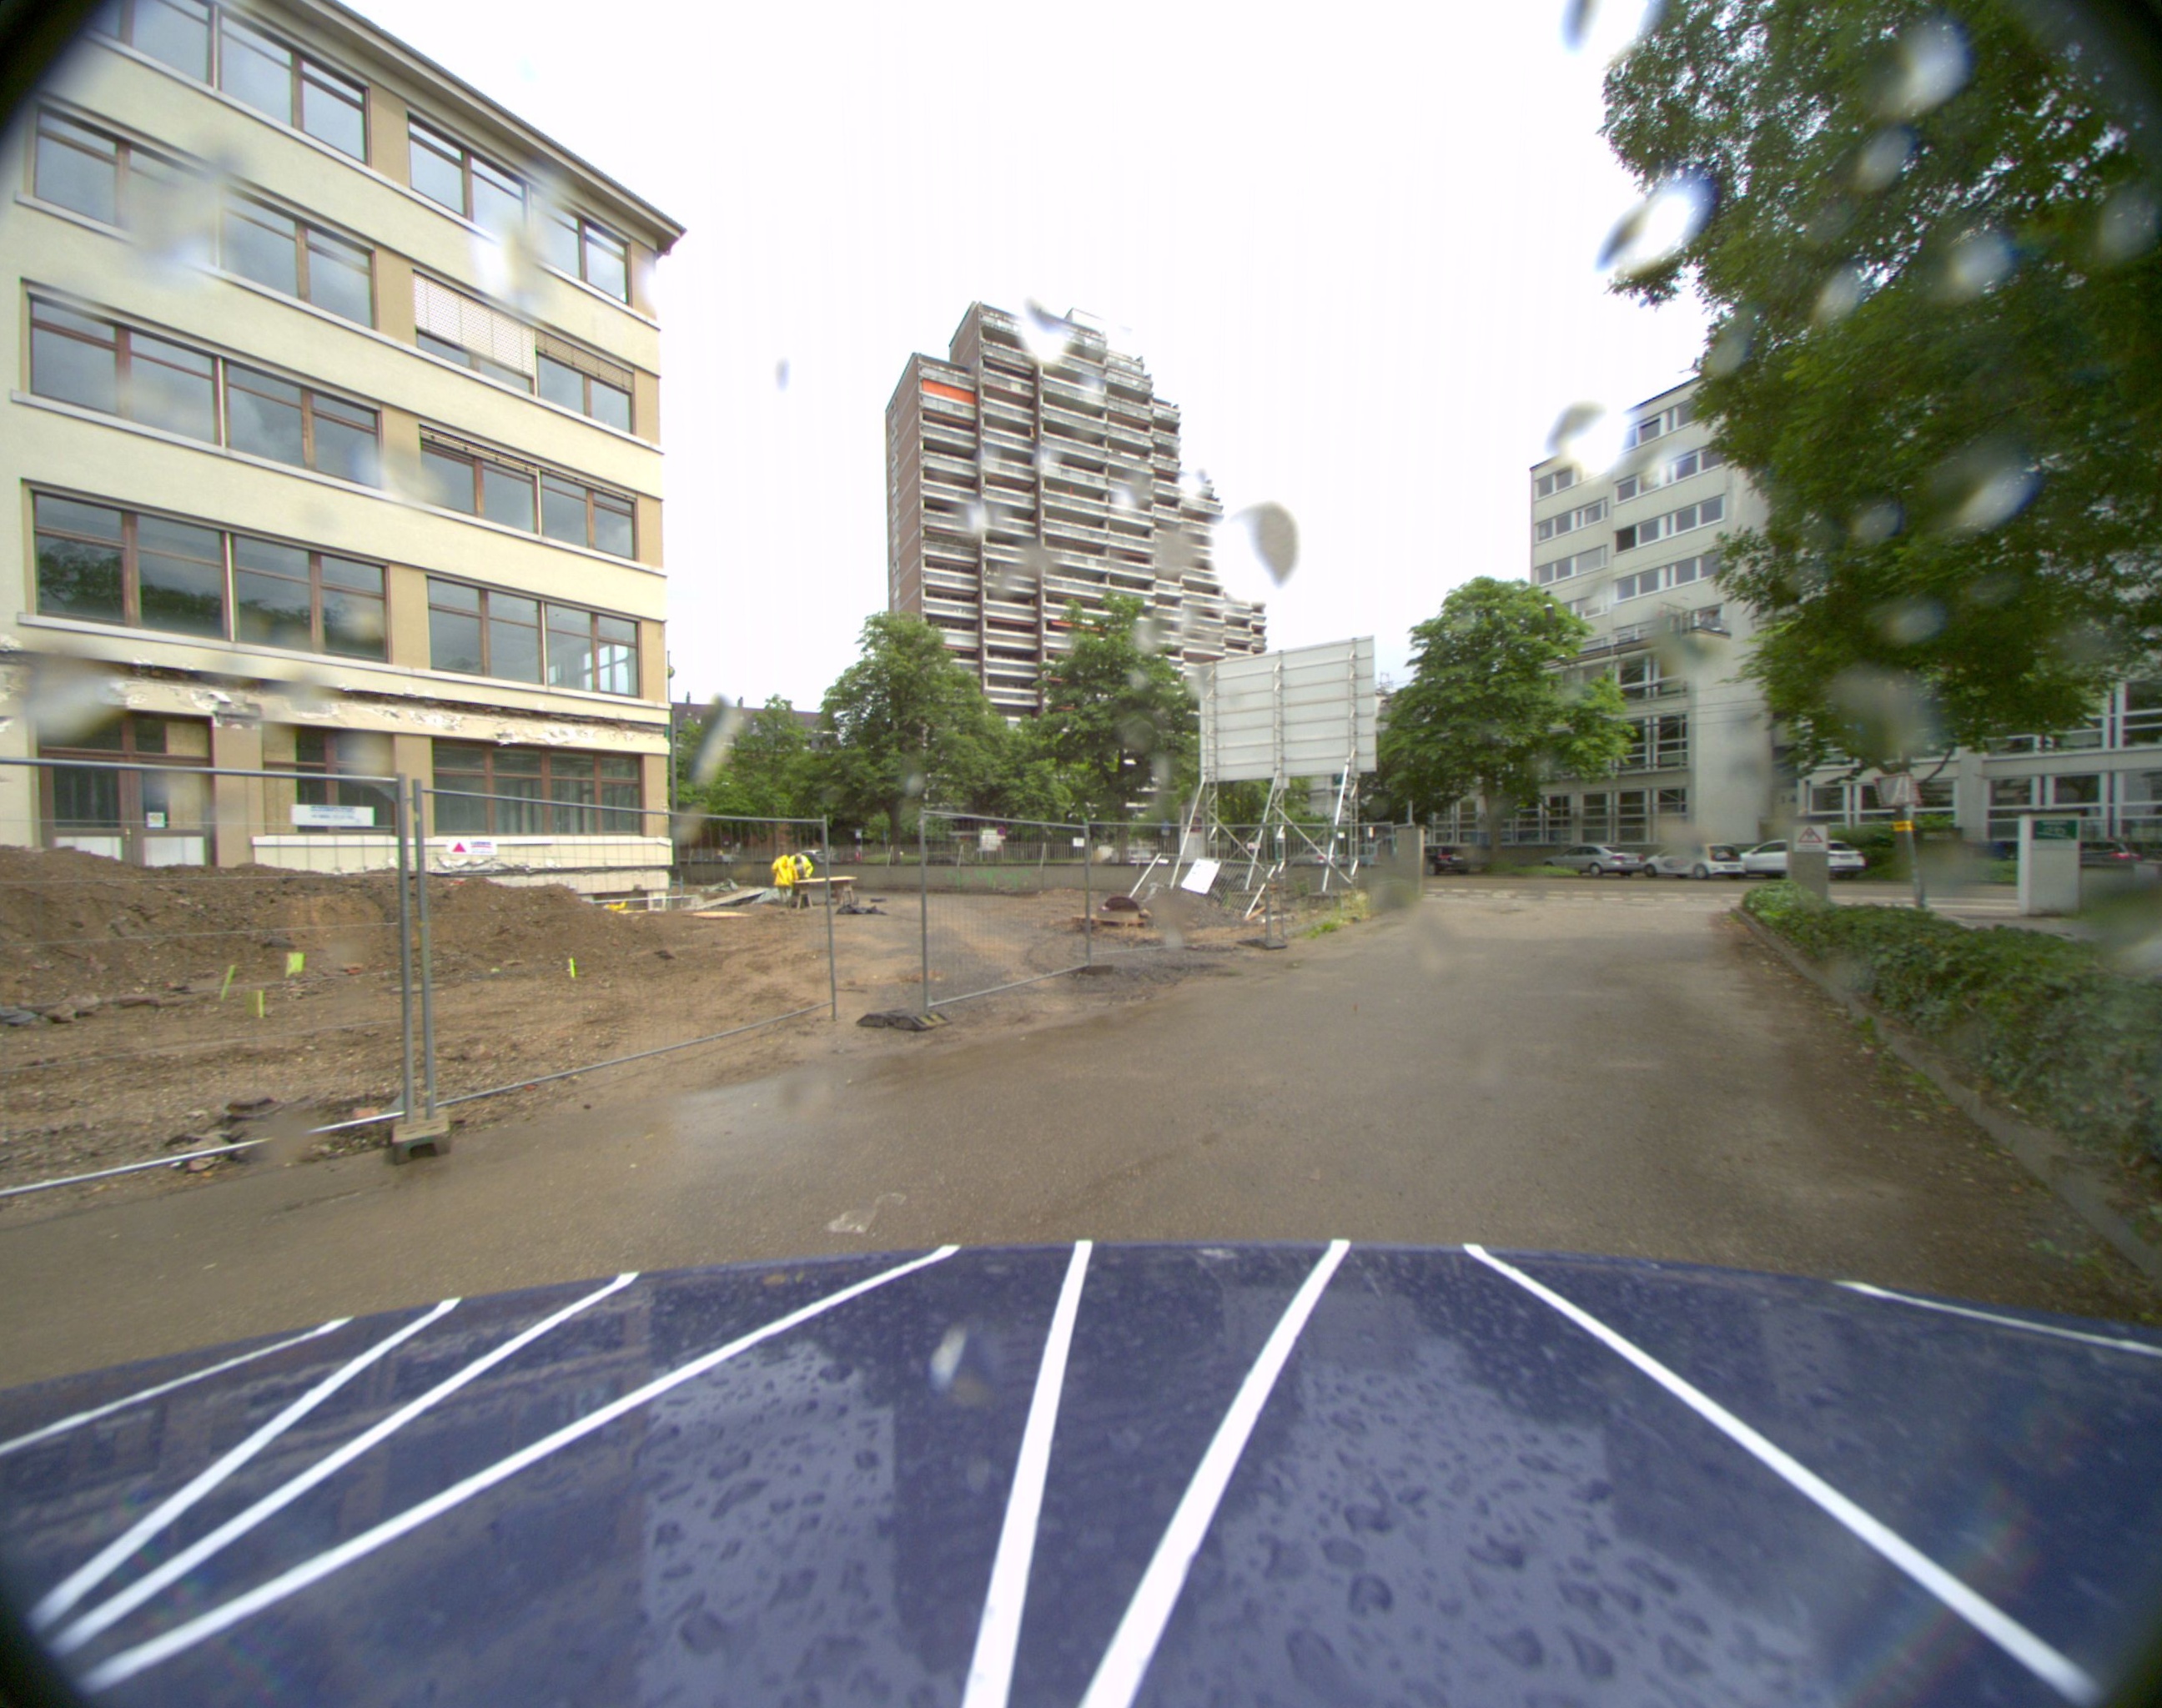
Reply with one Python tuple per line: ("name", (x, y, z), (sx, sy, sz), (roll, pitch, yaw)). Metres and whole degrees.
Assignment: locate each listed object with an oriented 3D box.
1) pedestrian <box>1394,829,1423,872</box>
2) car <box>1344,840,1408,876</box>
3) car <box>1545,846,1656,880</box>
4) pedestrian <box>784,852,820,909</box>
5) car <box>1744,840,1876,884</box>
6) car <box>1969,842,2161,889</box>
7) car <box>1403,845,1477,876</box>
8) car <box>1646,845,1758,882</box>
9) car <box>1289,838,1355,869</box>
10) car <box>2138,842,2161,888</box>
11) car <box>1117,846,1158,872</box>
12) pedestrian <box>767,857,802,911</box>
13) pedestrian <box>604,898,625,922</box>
("pedestrian", (15.614, -0.176, 36.246), (0.860, 2.002, 0.930), (-1, 1, -13))
("car", (15.099, 0.159, 39.031), (1.622, 1.737, 3.645), (-1, 1, -5))
("car", (23.064, 0.375, 33.916), (1.724, 1.406, 3.995), (1, 0, -12))
("pedestrian", (-8.294, 0.788, 22.641), (0.776, 1.664, 0.713), (-1, 1, 0))
("car", (28.333, 0.281, 29.662), (1.707, 1.594, 3.387), (1, 0, -7))
("car", (33.747, 0.339, 26.141), (1.790, 1.497, 3.777), (1, 1, -7))
("car", (17.446, 0.280, 37.106), (1.622, 1.419, 3.645), (-1, 1, -5))
("car", (25.541, 0.372, 31.390), (1.654, 1.436, 3.387), (1, 0, -7))
("car", (12.679, -0.031, 40.213), (1.859, 1.477, 3.997), (-3, 1, -5))
("car", (36.454, 0.391, 23.612), (1.790, 1.497, 3.777), (1, 1, -7))
("car", (3.512, 0.297, 47.828), (1.859, 1.477, 3.997), (-3, 1, -5))
("pedestrian", (-8.477, 0.840, 21.703), (0.623, 1.500, 0.650), (0, 1, 23))
("pedestrian", (-13.431, 1.599, 21.884), (0.345, 0.658, 0.393), (0, 1, 33))
